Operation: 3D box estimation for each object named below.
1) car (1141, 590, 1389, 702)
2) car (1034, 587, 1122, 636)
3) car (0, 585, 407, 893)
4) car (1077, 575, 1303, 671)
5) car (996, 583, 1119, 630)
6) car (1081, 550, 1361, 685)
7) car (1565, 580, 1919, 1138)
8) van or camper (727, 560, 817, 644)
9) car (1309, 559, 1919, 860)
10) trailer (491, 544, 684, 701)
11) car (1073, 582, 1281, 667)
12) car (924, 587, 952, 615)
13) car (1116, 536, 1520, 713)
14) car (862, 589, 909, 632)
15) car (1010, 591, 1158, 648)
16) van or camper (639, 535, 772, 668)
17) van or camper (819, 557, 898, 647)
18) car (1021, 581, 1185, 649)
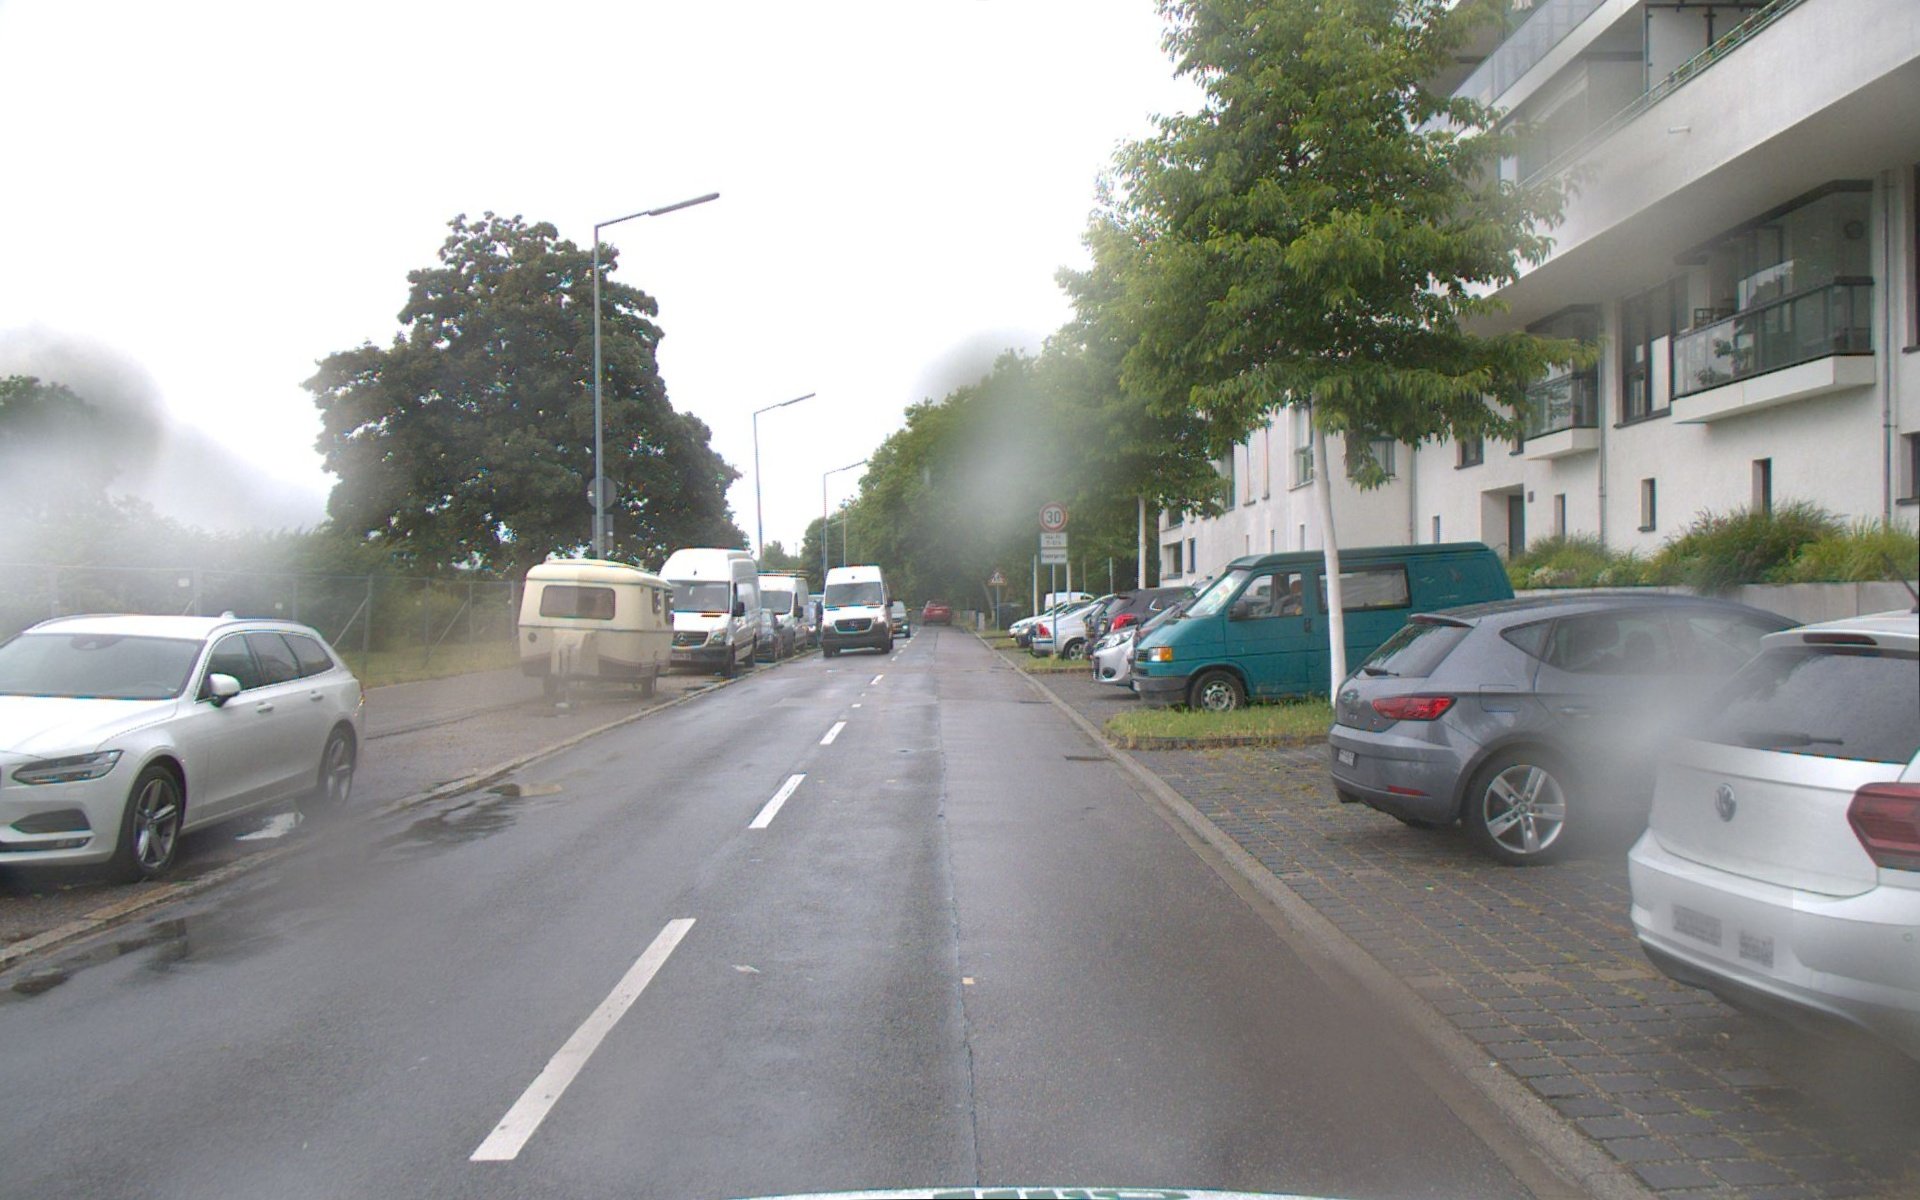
[{"bbox_3d":[4.193,0.625,22.984,3.189,1.508,1.317,0,0,-3],"label":"car"},{"bbox_3d":[5.761,0.561,80.644,3.904,2.333,1.777,1,-1,20],"label":"car"},{"bbox_3d":[-5.470,0.719,11.107,1.849,1.552,5.108,2,0,-2],"label":"car"},{"bbox_3d":[4.194,0.417,30.494,3.808,1.711,1.861,0,0,-6],"label":"car"},{"bbox_3d":[3.386,0.239,57.846,4.014,1.602,1.865,0,-1,-8],"label":"car"},{"bbox_3d":[3.943,0.266,25.461,4.010,1.927,1.726,-1,0,0],"label":"car"},{"bbox_3d":[4.349,0.621,5.275,4.213,1.453,1.636,-2,0,-3],"label":"car"},{"bbox_3d":[-5.973,0.091,53.254,2.144,2.505,6.376,1,-1,0],"label":"van or camper"},{"bbox_3d":[4.268,0.577,9.863,3.951,1.525,1.630,-2,0,-4],"label":"car"},{"bbox_3d":[-5.965,0.347,27.227,2.017,2.256,5.792,1,0,-2],"label":"trailer"},{"bbox_3d":[4.288,0.480,33.034,3.808,1.628,1.861,0,-1,-6],"label":"car"},{"bbox_3d":[-1.469,0.082,107.475,1.721,1.736,3.998,0,-1,-2],"label":"car"},{"bbox_3d":[4.314,0.280,20.340,4.528,2.055,1.856,0,-1,-5],"label":"car"},{"bbox_3d":[-3.219,0.458,72.045,1.843,1.788,4.068,0,0,0],"label":"car"},{"bbox_3d":[3.699,0.576,49.926,4.299,1.662,2.005,0,-1,-2],"label":"car"},{"bbox_3d":[-5.907,0.063,39.449,1.953,2.810,7.897,1,-1,0],"label":"van or camper"},{"bbox_3d":[-3.055,0.075,51.038,1.953,2.541,7.177,-1,0,0],"label":"van or camper"},{"bbox_3d":[3.867,0.415,45.428,4.299,1.807,2.005,0,-1,-2],"label":"car"}]
